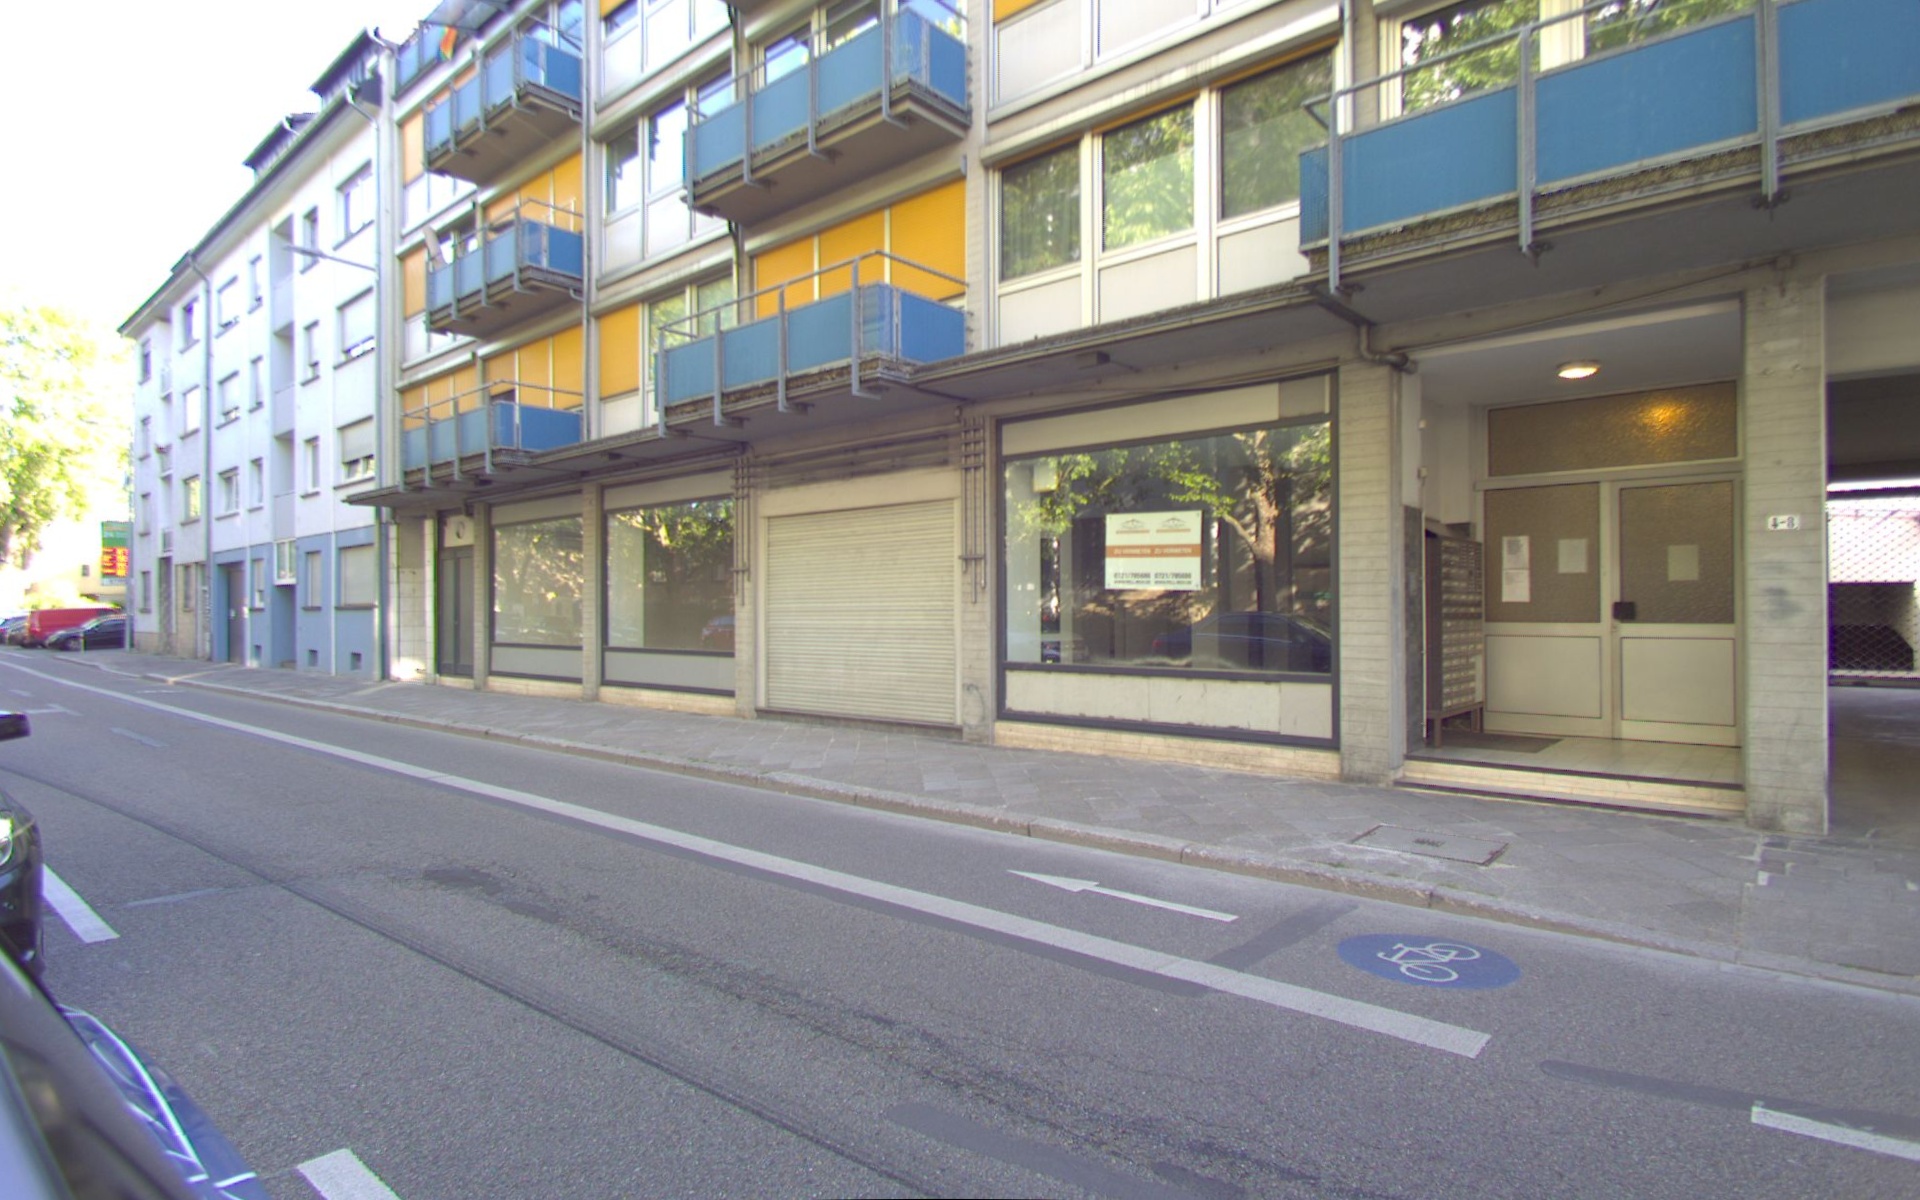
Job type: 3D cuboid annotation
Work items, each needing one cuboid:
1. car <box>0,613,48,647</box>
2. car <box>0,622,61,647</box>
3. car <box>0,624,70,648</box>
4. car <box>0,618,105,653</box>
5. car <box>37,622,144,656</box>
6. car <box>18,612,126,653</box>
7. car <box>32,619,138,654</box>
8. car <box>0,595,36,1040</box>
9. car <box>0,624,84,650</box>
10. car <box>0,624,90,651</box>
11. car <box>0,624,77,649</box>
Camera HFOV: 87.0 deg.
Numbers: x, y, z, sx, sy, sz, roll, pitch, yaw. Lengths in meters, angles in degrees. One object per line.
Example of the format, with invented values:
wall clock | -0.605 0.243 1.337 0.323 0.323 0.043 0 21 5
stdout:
car | -62.704 1.968 66.592 1.725 2.193 3.854 -1 0 42
car | -59.206 2.189 63.761 1.539 1.451 3.733 -1 0 42
car | -57.176 2.201 62.003 1.525 1.343 3.854 -1 0 42
car | -46.044 1.781 51.405 1.603 1.598 3.854 -1 0 42
car | -39.787 1.747 46.353 1.534 1.420 3.551 -2 -1 42
car | -43.698 1.566 49.867 1.749 1.921 3.854 -1 -1 42
car | -41.504 1.701 48.049 1.602 1.521 3.620 -1 0 42
car | -5.425 0.769 4.208 4.291 1.515 1.805 -1 0 40
car | -53.354 2.116 58.563 1.594 1.385 3.854 -1 0 42
car | -51.840 2.097 57.223 1.594 1.385 3.854 -1 0 42
car | -55.370 2.177 60.442 1.525 1.343 3.854 -1 0 42
